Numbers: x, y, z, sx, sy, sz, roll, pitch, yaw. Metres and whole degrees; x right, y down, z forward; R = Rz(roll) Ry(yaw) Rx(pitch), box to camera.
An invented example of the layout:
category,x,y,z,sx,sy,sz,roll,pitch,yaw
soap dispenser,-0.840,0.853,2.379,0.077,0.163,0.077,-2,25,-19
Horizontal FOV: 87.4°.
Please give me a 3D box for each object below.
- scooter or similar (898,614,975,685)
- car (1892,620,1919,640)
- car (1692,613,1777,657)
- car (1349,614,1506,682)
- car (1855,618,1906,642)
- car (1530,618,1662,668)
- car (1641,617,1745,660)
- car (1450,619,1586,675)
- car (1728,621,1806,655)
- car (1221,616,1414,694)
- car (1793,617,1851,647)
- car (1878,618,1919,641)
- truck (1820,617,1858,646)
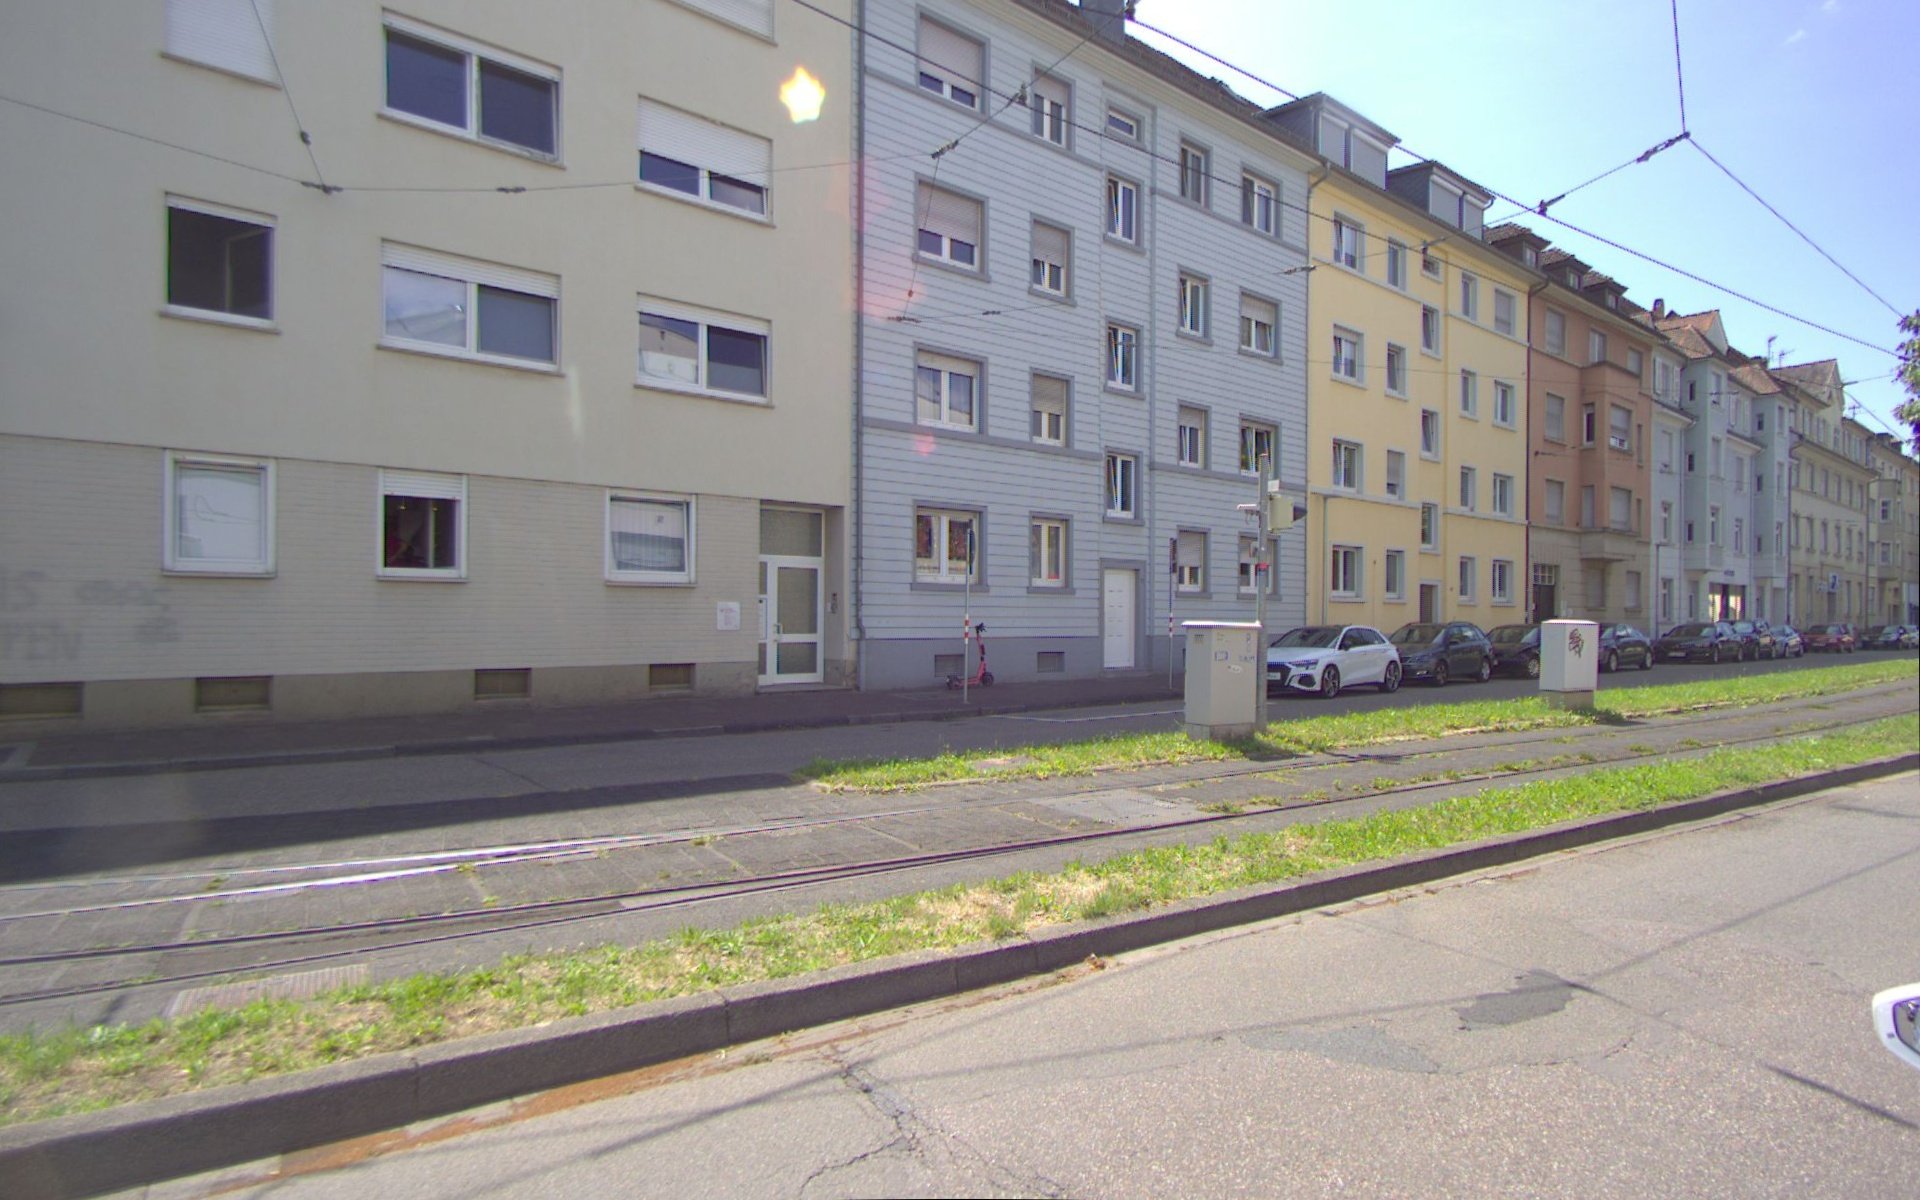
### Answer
category,x,y,z,sx,sy,sz,roll,pitch,yaw
scooter or similar,-0.434,0.901,18.672,1.309,1.239,0.633,0,1,-39
car,62.861,1.951,66.161,3.260,1.294,1.673,1,-2,-39
car,31.406,1.402,40.688,4.107,1.708,1.822,1,-2,-39
car,11.502,1.123,24.623,4.291,1.525,1.911,1,-1,-41
car,54.762,1.797,59.717,3.824,1.378,1.673,1,-2,-39
car,19.583,1.280,30.845,4.819,1.416,1.913,1,-2,-38
car,27.109,1.390,37.091,4.821,1.510,1.913,1,-2,-39
car,15.295,1.242,27.464,4.106,1.418,1.817,1,-1,-39
car,35.047,1.629,43.586,4.214,1.374,1.793,1,-2,-39
car,7.531,1.093,20.990,4.341,1.470,1.911,1,-3,-41
car,43.080,1.578,50.167,3.594,1.470,1.559,1,-2,-39
car,59.151,1.864,63.072,3.824,1.409,1.673,1,-2,-39
truck,46.323,1.660,52.943,2.573,1.514,1.116,1,-2,-40
